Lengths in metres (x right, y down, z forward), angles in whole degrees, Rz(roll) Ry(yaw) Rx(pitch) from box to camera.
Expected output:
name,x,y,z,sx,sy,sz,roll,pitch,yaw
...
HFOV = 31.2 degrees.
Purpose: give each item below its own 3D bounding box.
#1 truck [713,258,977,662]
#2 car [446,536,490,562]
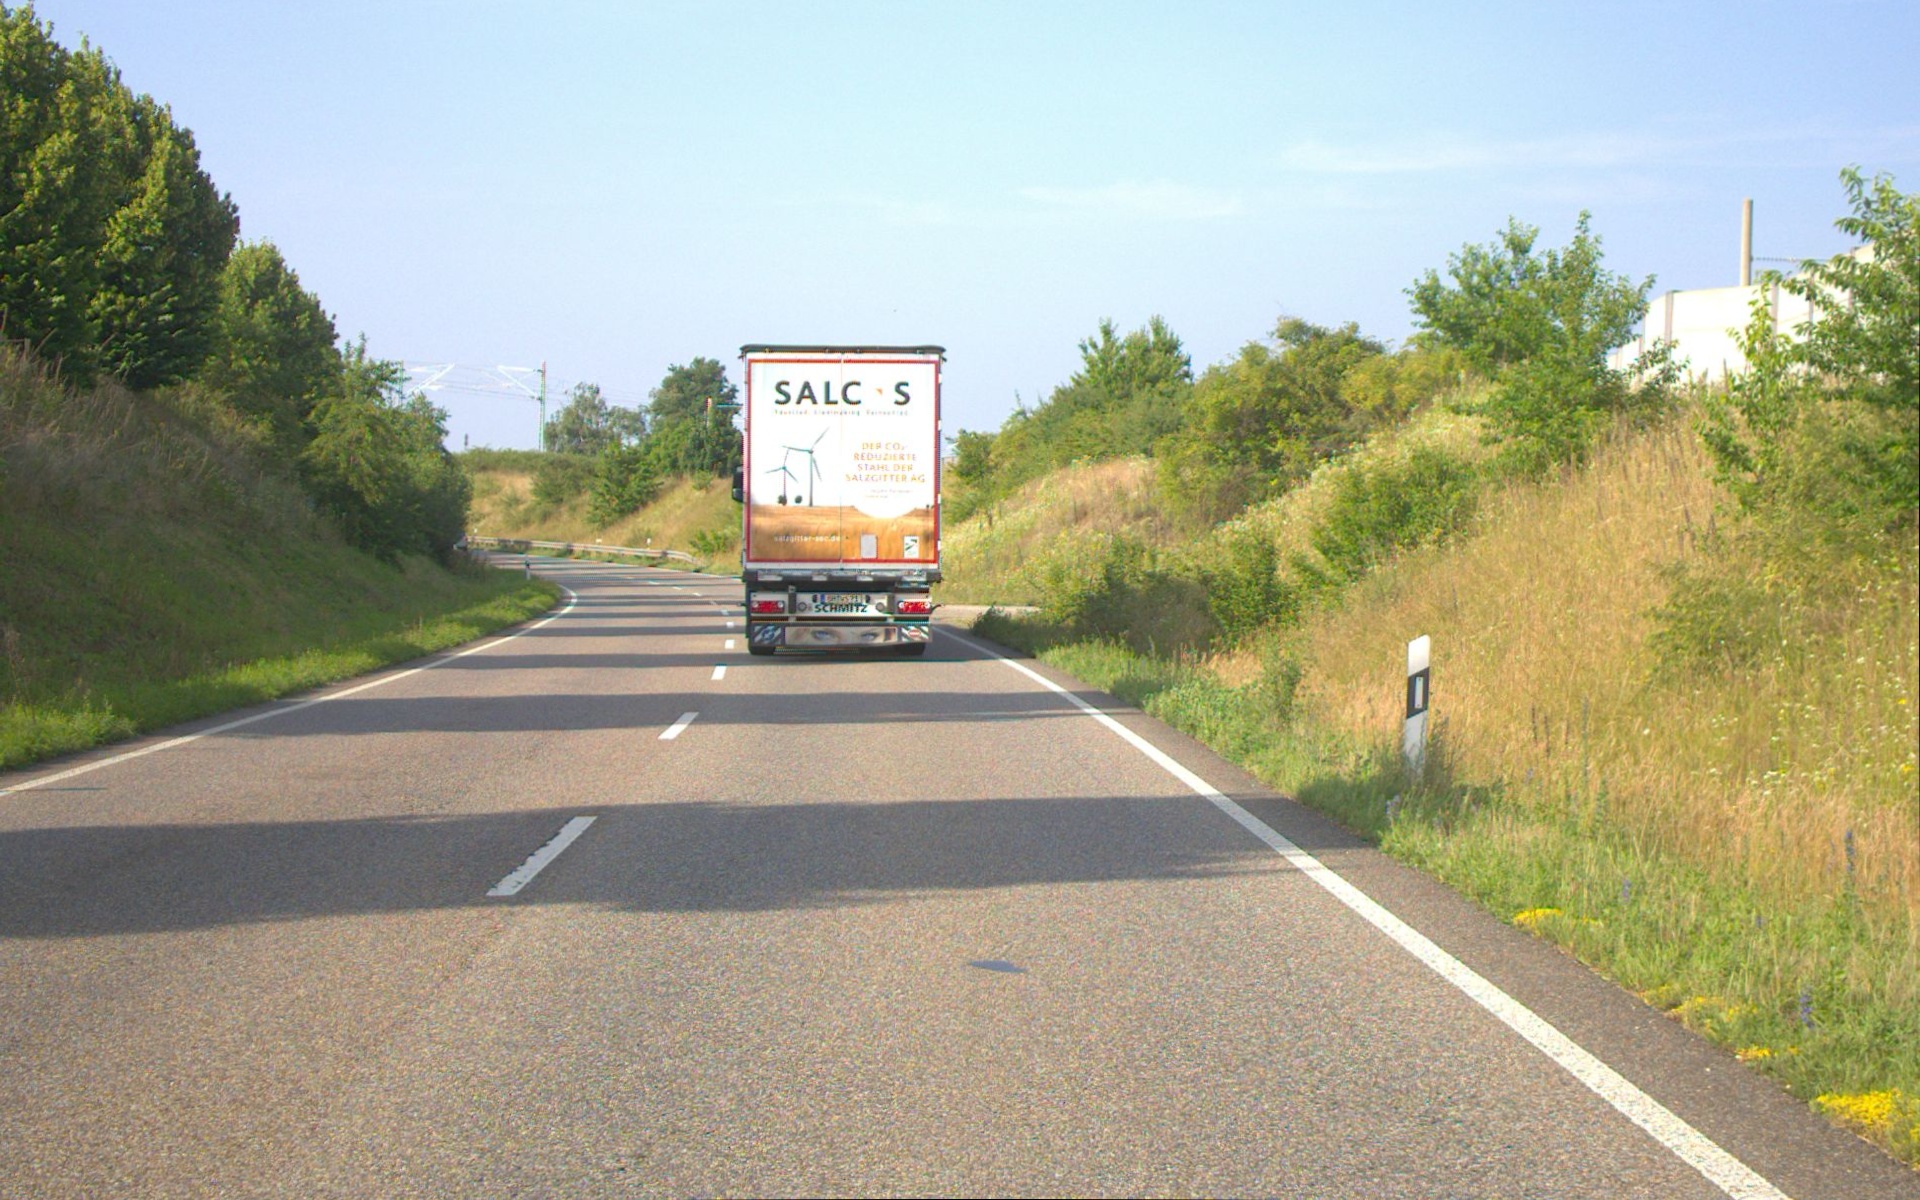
name,x,y,z,sx,sy,sz,roll,pitch,yaw
truck,-1.577,-1.874,49.556,3.290,5.072,12.038,1,1,-1
car,-30.079,-3.120,210.300,2.046,1.576,4.360,1,1,1
